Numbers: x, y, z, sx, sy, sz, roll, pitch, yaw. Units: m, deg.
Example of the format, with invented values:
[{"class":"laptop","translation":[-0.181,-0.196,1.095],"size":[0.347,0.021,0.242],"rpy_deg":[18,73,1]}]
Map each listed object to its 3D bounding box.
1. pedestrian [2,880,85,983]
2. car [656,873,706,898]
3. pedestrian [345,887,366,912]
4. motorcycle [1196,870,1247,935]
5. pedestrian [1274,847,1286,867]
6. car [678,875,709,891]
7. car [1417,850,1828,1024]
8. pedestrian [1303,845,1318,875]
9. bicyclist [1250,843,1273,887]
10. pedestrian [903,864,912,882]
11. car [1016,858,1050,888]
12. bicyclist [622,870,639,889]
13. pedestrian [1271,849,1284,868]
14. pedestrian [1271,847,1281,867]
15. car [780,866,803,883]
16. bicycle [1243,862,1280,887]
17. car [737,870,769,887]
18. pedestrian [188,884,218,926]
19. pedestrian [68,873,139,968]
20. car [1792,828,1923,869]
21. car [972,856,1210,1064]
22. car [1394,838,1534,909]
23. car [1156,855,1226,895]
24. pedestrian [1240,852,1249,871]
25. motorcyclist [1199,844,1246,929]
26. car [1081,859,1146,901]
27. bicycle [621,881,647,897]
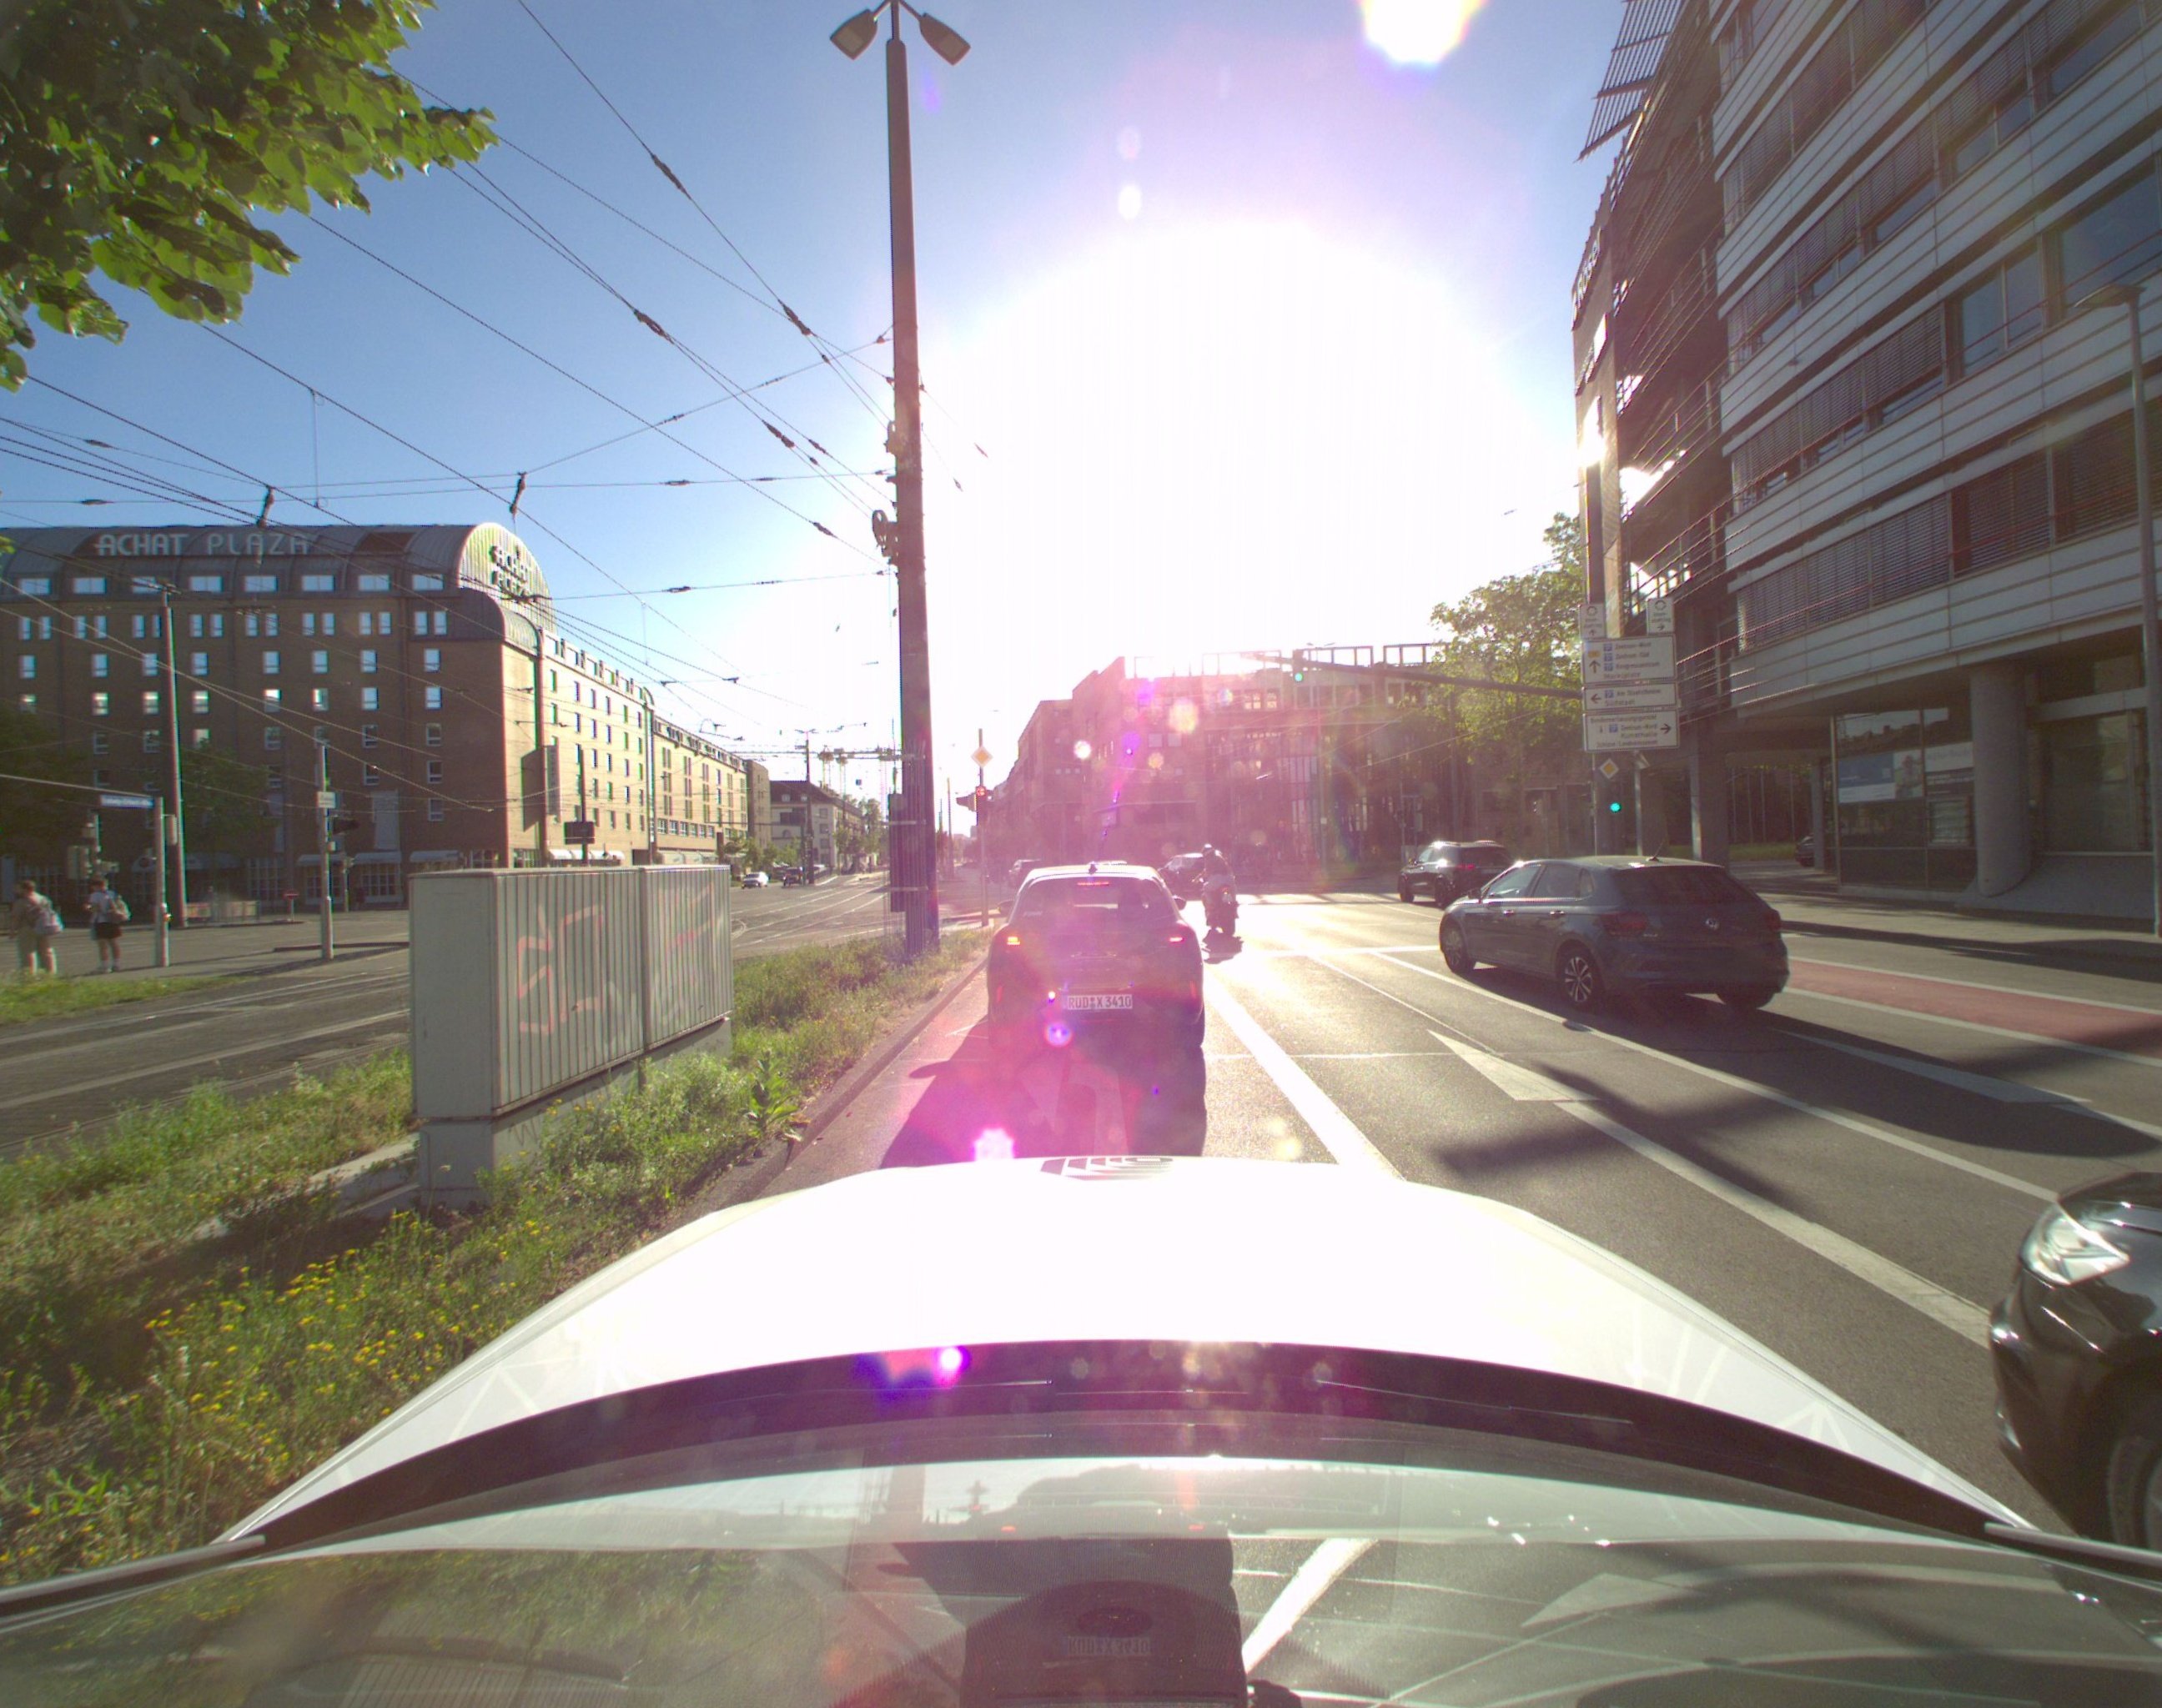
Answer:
[{"class":"pedestrian","translation":[-19.282,1.424,15.151],"size":[0.630,1.830,0.662],"rpy_deg":[-2,0,-5]},{"class":"car","translation":[-28.639,2.203,58.409],"size":[1.995,1.596,4.720],"rpy_deg":[-2,0,-11]},{"class":"pedestrian","translation":[-45.347,2.812,50.930],"size":[0.674,1.503,0.659],"rpy_deg":[-2,0,-2]},{"class":"motorcycle","translation":[2.699,0.895,15.798],"size":[0.772,1.115,1.972],"rpy_deg":[-2,0,5]},{"class":"pedestrian","translation":[16.810,0.268,68.743],"size":[0.894,1.617,0.562],"rpy_deg":[-2,0,10]},{"class":"car","translation":[-39.628,2.962,83.268],"size":[1.886,1.510,3.984],"rpy_deg":[-2,0,-11]},{"class":"car","translation":[5.492,0.712,9.002],"size":[1.803,1.457,3.997],"rpy_deg":[-1,0,-2]},{"class":"pedestrian","translation":[13.631,0.341,48.269],"size":[0.700,1.759,0.564],"rpy_deg":[-2,0,27]},{"class":"bicyclist","translation":[7.659,0.462,34.561],"size":[0.578,1.791,0.859],"rpy_deg":[-2,0,-14]},{"class":"pedestrian","translation":[-16.675,1.835,78.159],"size":[0.765,1.640,0.742],"rpy_deg":[-2,0,-10]},{"class":"car","translation":[-2.895,1.090,48.506],"size":[1.735,1.651,3.990],"rpy_deg":[-2,0,-7]},{"class":"bicyclist","translation":[-33.670,1.932,60.843],"size":[0.756,1.375,0.949],"rpy_deg":[-2,0,-6]},{"class":"pedestrian","translation":[16.412,0.381,68.013],"size":[0.894,1.617,0.562],"rpy_deg":[-2,0,10]},{"class":"pedestrian","translation":[16.721,0.258,69.855],"size":[0.733,1.617,0.562],"rpy_deg":[-2,0,10]},{"class":"car","translation":[-28.349,1.982,79.863],"size":[1.748,1.505,3.860],"rpy_deg":[-2,0,-15]},{"class":"bicycle","translation":[7.649,0.863,34.571],"size":[0.492,0.997,2.316],"rpy_deg":[-2,0,-14]},{"class":"car","translation":[-30.681,2.281,76.272],"size":[1.569,1.449,3.996],"rpy_deg":[-2,0,-3]},{"class":"pedestrian","translation":[-42.695,2.468,39.597],"size":[0.663,2.013,0.678],"rpy_deg":[-2,0,2]},{"class":"pedestrian","translation":[-19.341,1.298,16.124],"size":[0.562,1.817,0.662],"rpy_deg":[-2,0,-5]},{"class":"car","translation":[32.618,-0.213,34.251],"size":[3.982,1.651,1.861],"rpy_deg":[-1,0,-6]},{"class":"car","translation":[0.173,0.759,7.767],"size":[1.642,1.433,4.003],"rpy_deg":[-2,0,3]},{"class":"car","translation":[10.591,0.503,22.916],"size":[1.986,1.750,4.331],"rpy_deg":[-2,0,2]},{"class":"car","translation":[4.249,0.775,32.045],"size":[1.805,1.457,3.991],"rpy_deg":[-1,0,-6]},{"class":"pedestrian","translation":[12.477,0.566,62.112],"size":[0.527,1.430,0.598],"rpy_deg":[-2,0,1]},{"class":"motorcyclist","translation":[2.669,0.598,15.448],"size":[0.741,1.530,1.022],"rpy_deg":[-2,0,4]},{"class":"car","translation":[1.089,0.879,29.271],"size":[1.735,1.349,3.991],"rpy_deg":[-2,0,-6]},{"class":"bicycle","translation":[-33.694,2.648,61.414],"size":[0.649,1.085,2.920],"rpy_deg":[-2,0,-6]}]
